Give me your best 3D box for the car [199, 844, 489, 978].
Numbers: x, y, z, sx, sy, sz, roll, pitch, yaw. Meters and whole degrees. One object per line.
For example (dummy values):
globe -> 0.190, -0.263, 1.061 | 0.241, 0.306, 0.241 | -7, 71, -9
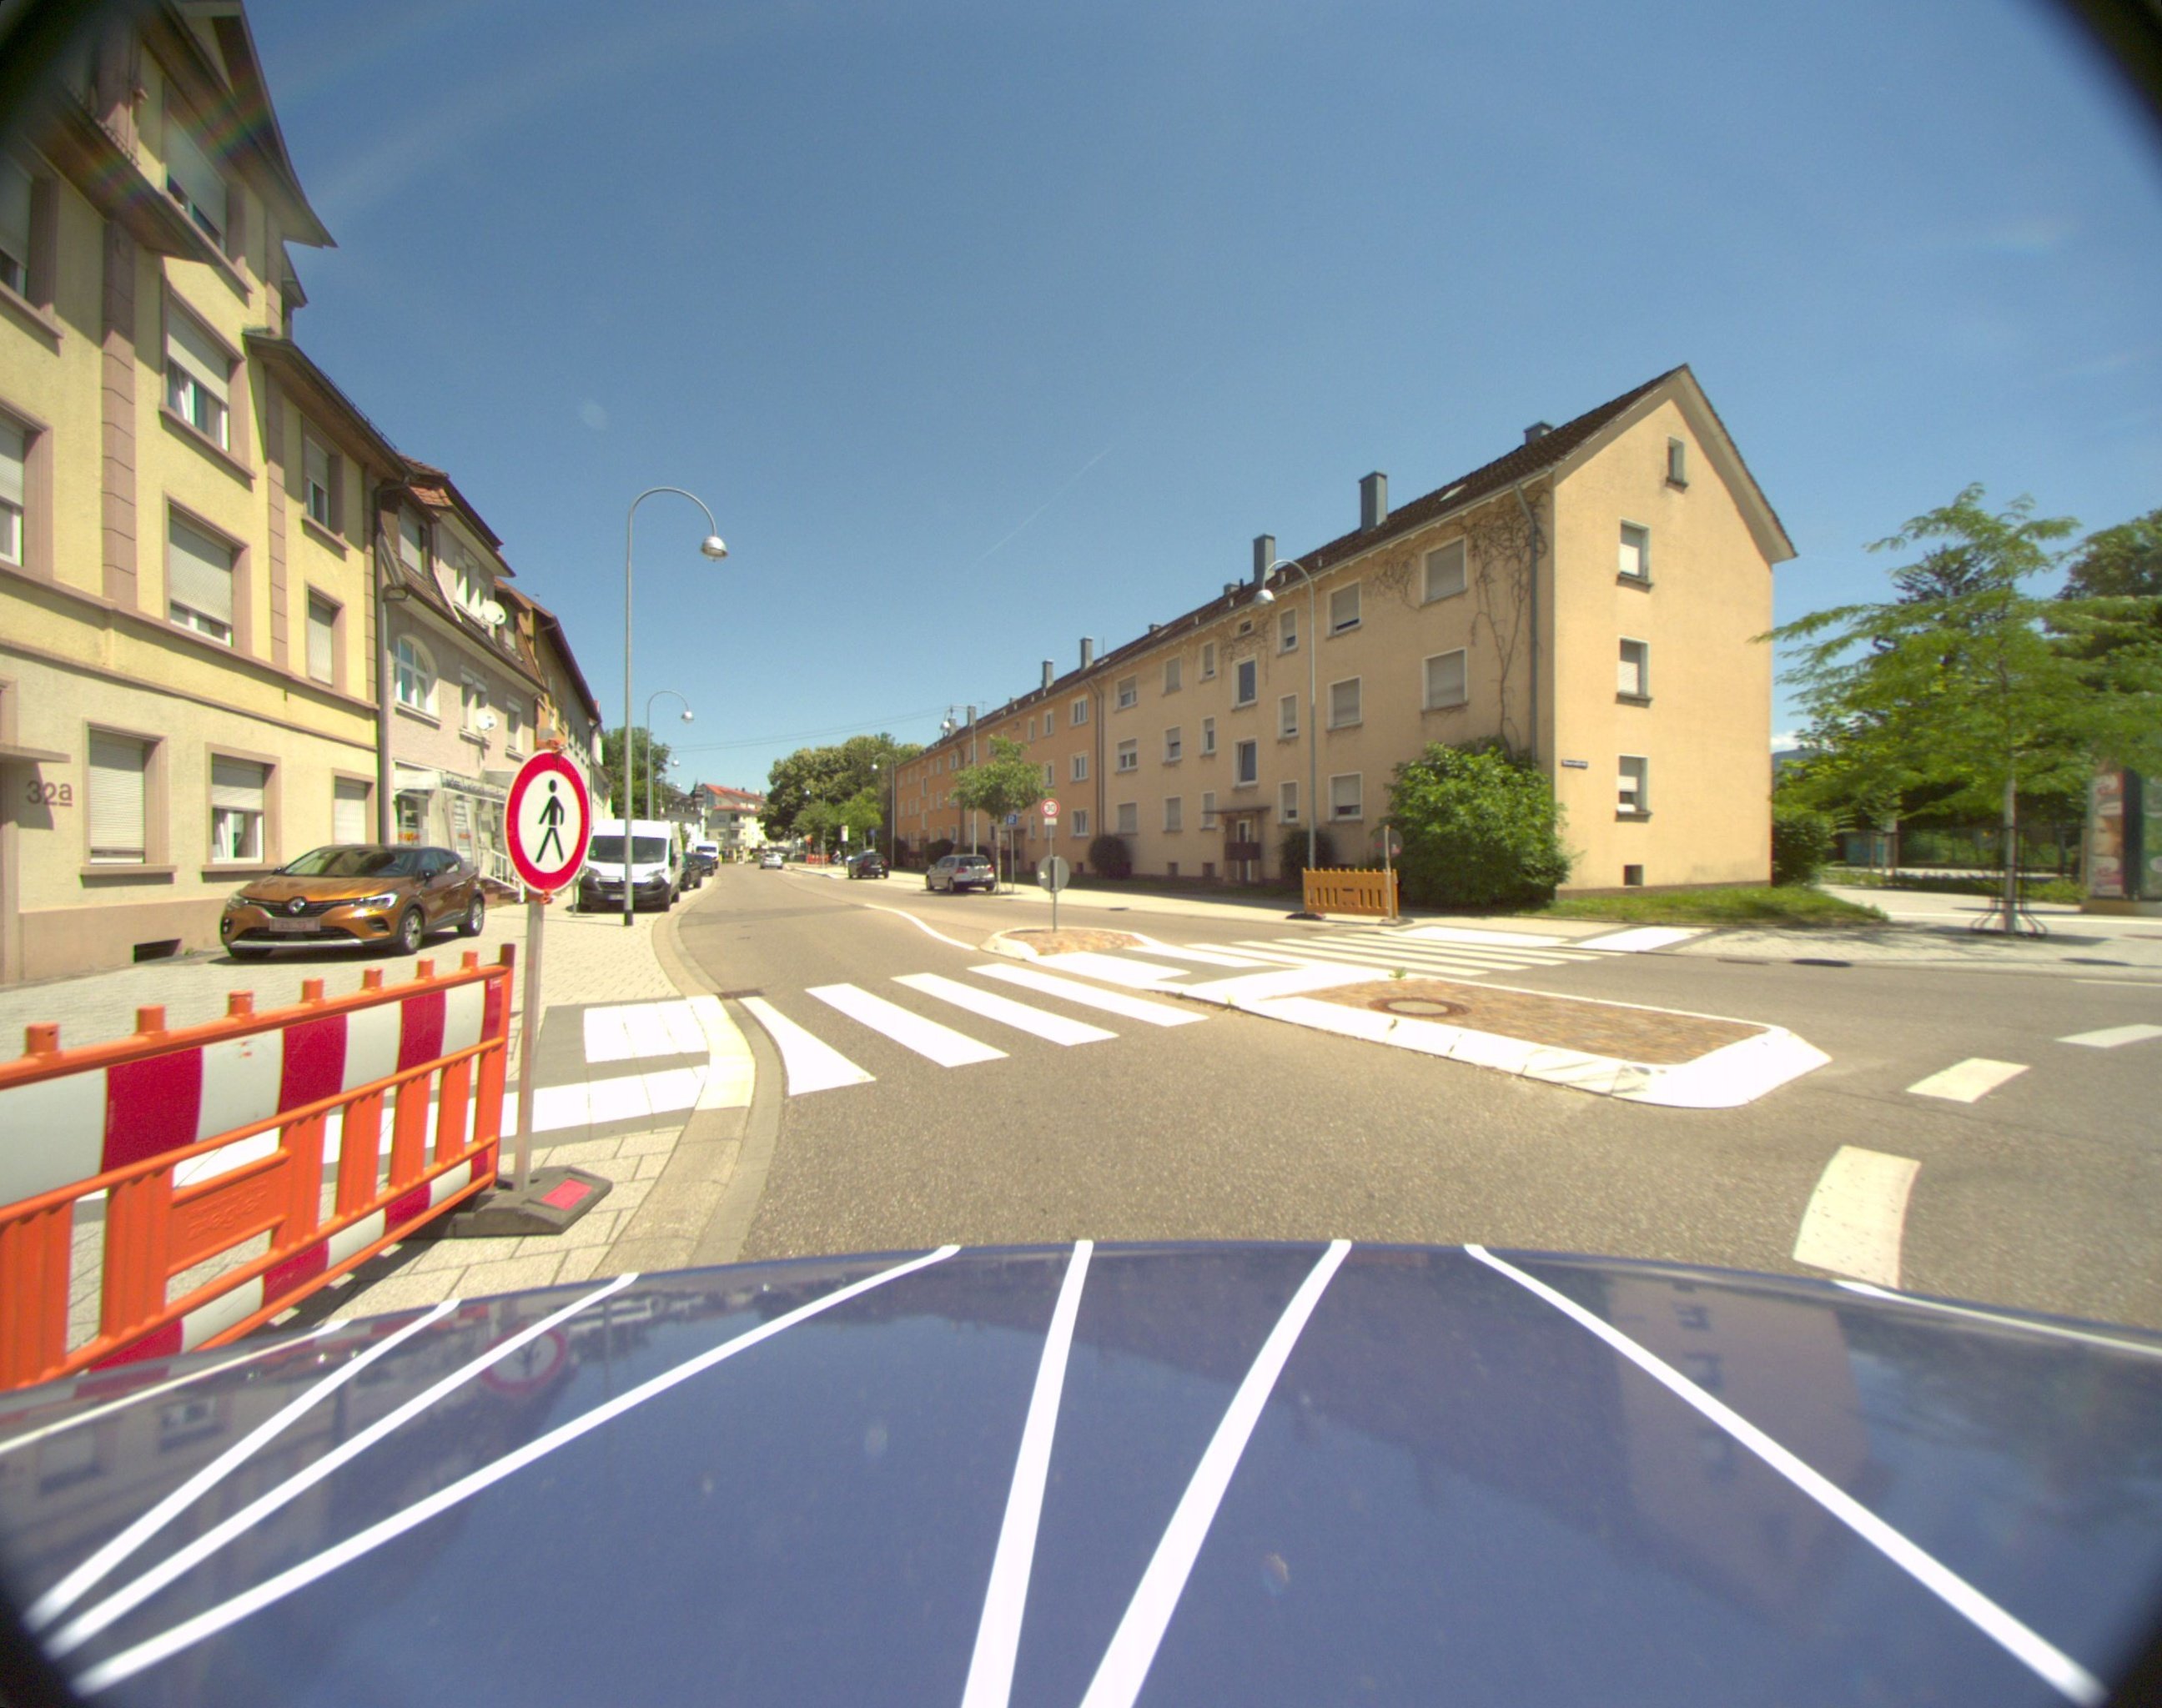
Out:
car -> -10.657, 0.700, 11.448 | 1.680, 1.610, 4.354 | 2, -1, -24

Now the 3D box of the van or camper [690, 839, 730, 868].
van or camper -> -32.617, -0.056, 66.713 | 2.119, 2.453, 6.160 | -2, 1, -35

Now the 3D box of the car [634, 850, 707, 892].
car -> -17.132, 0.670, 31.936 | 1.903, 1.598, 4.357 | 1, 0, -18

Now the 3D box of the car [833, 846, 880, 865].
car -> -23.776, 0.163, 80.501 | 4.446, 1.863, 1.814 | -2, 2, -36

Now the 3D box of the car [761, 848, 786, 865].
car -> -27.534, 0.214, 67.963 | 1.667, 1.488, 3.750 | 0, 1, -28

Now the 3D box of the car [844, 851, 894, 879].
car -> -12.636, 0.645, 45.122 | 1.865, 1.498, 4.552 | -3, 1, -28

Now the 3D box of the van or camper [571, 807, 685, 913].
van or camper -> -12.597, 0.152, 21.520 | 2.175, 2.573, 5.753 | 1, 0, -25

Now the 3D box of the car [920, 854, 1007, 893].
car -> -4.827, 0.733, 30.689 | 2.003, 1.412, 4.078 | -2, 1, -32

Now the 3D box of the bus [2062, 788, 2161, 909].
bus -> 28.293, -0.187, 17.756 | 2.824, 3.092, 8.938 | -3, 0, 26
